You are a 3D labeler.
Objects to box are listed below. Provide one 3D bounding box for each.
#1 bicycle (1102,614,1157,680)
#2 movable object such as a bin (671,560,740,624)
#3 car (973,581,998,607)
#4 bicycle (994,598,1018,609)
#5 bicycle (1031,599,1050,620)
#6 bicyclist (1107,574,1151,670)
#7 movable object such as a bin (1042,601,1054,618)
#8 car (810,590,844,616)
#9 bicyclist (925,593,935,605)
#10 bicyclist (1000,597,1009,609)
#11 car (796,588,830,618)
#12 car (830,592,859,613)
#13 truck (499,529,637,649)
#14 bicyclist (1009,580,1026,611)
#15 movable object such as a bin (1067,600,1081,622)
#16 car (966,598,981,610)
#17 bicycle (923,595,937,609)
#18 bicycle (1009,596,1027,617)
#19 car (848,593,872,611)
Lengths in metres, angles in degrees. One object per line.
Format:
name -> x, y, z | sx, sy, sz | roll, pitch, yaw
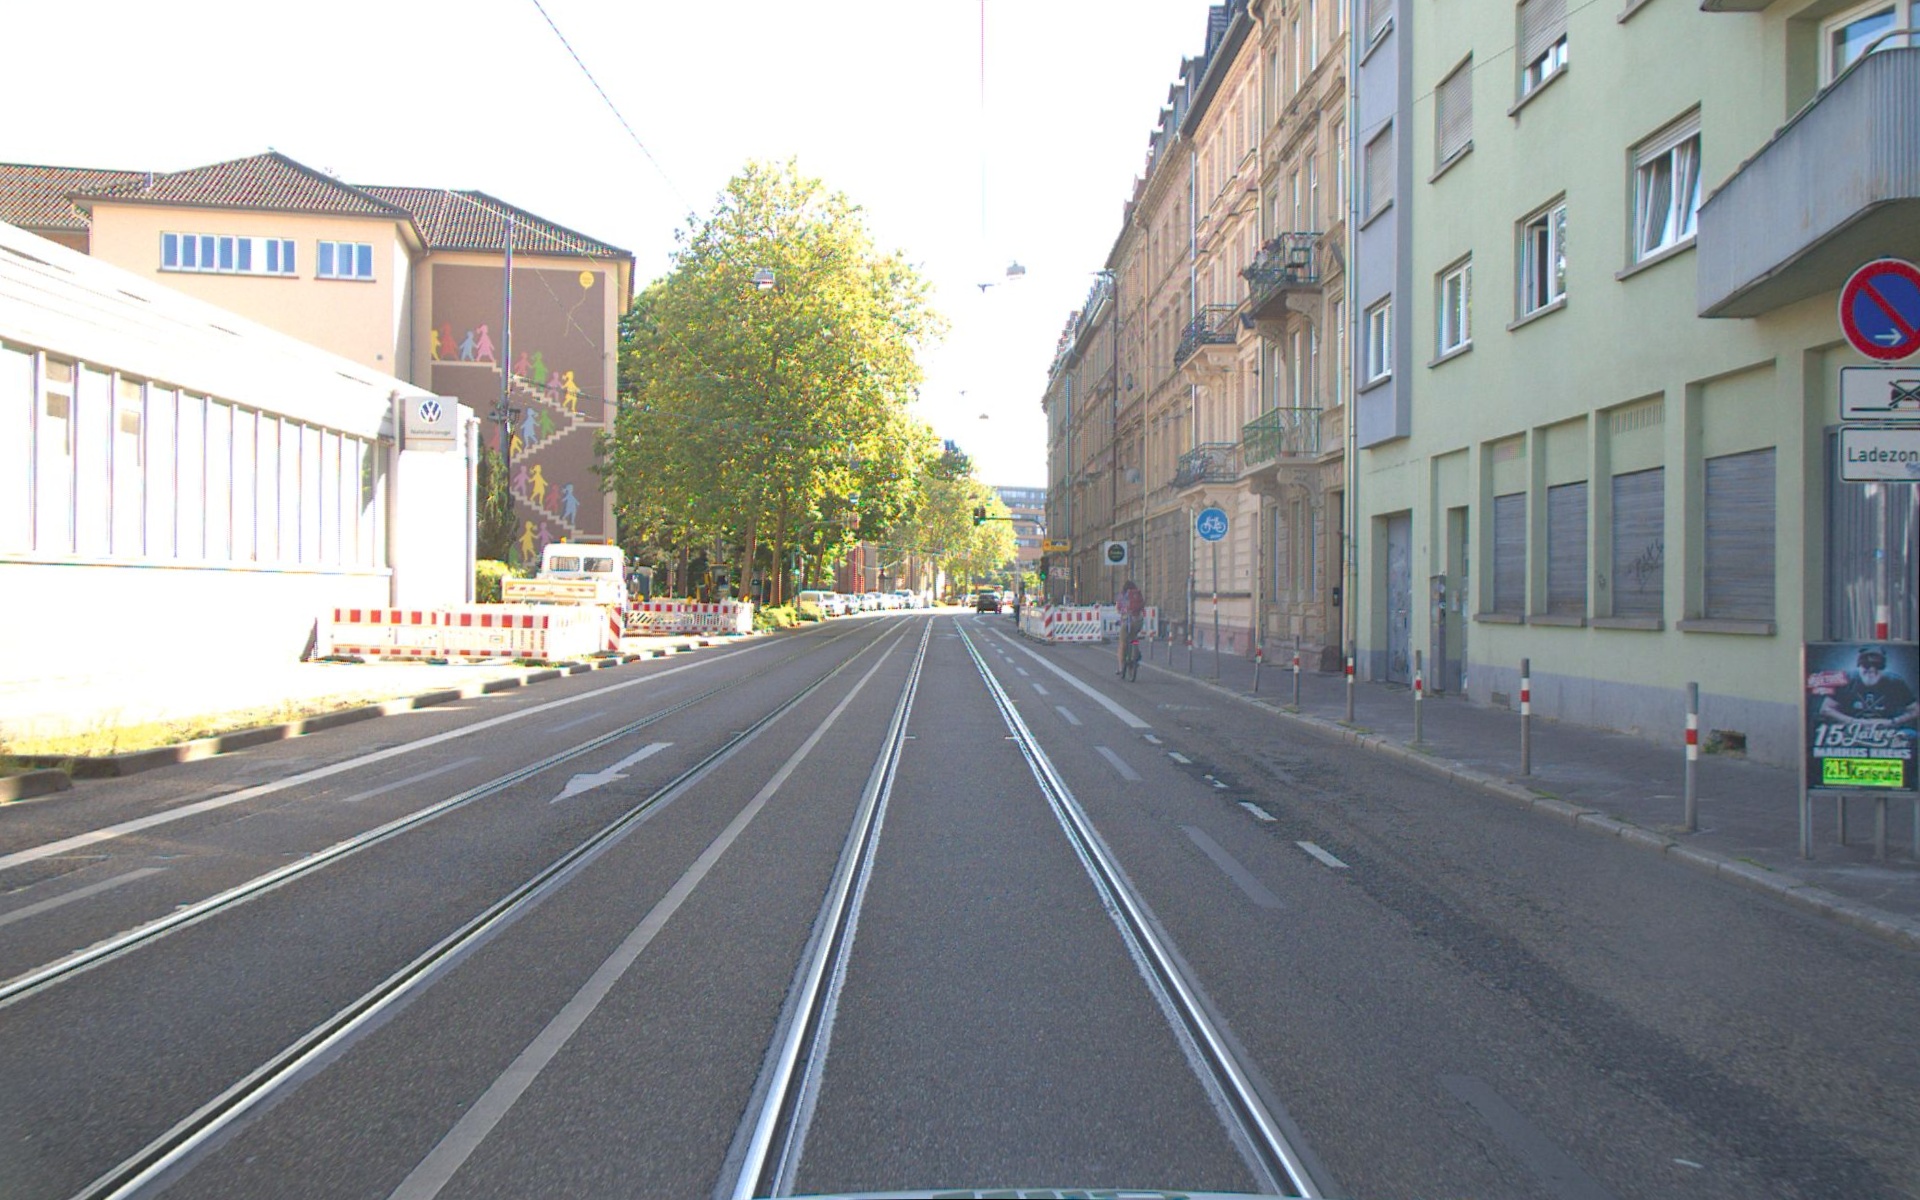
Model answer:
bicycle -> 3.124, 0.840, 30.634 | 0.667, 1.134, 2.706 | 2, 0, -1
movable object such as a bin -> -11.513, -0.350, 75.217 | 2.445, 2.691, 5.985 | 2, 0, -3
car -> 2.163, -0.502, 140.568 | 1.953, 2.049, 4.000 | 2, 0, 0
bicycle -> 5.595, 0.478, 202.133 | 2.826, 1.253, 0.885 | 2, -1, 10
bicycle -> 6.123, 0.723, 125.535 | 0.950, 1.541, 3.248 | 2, 0, 11
bicyclist -> 3.129, 0.404, 30.674 | 0.653, 1.726, 1.043 | 2, -1, -1
movable object such as a bin -> 5.553, 0.601, 104.476 | 0.659, 1.054, 0.813 | 0, 1, 0
car -> -8.795, 0.207, 109.548 | 1.712, 1.636, 4.044 | 2, 0, 2
bicyclist -> -3.590, -0.100, 198.992 | 1.054, 1.452, 1.147 | 2, -1, 8
bicyclist -> 5.465, 0.378, 202.086 | 0.880, 1.452, 1.054 | 2, -1, 8
car -> -8.747, 0.210, 98.929 | 1.513, 1.687, 3.763 | 2, 0, 2
car -> -8.740, 0.202, 125.082 | 1.712, 1.536, 4.044 | 2, 0, 2
truck -> -10.329, -0.264, 44.159 | 2.488, 2.879, 6.370 | 2, 0, -4
bicyclist -> 3.042, -0.246, 87.972 | 0.821, 1.585, 0.965 | 2, -1, -1
movable object such as a bin -> 5.958, 0.557, 86.300 | 0.607, 1.129, 0.780 | 2, -1, -3
car -> 1.698, 0.541, 206.946 | 1.712, 1.447, 4.045 | 2, 0, 4
bicycle -> -3.637, 0.202, 199.028 | 1.208, 1.600, 2.899 | 2, 0, 7
bicycle -> 3.090, 0.348, 87.987 | 0.838, 1.107, 2.487 | 2, 0, -1
car -> -8.958, 0.222, 148.025 | 1.712, 1.521, 4.044 | 2, 0, 2
